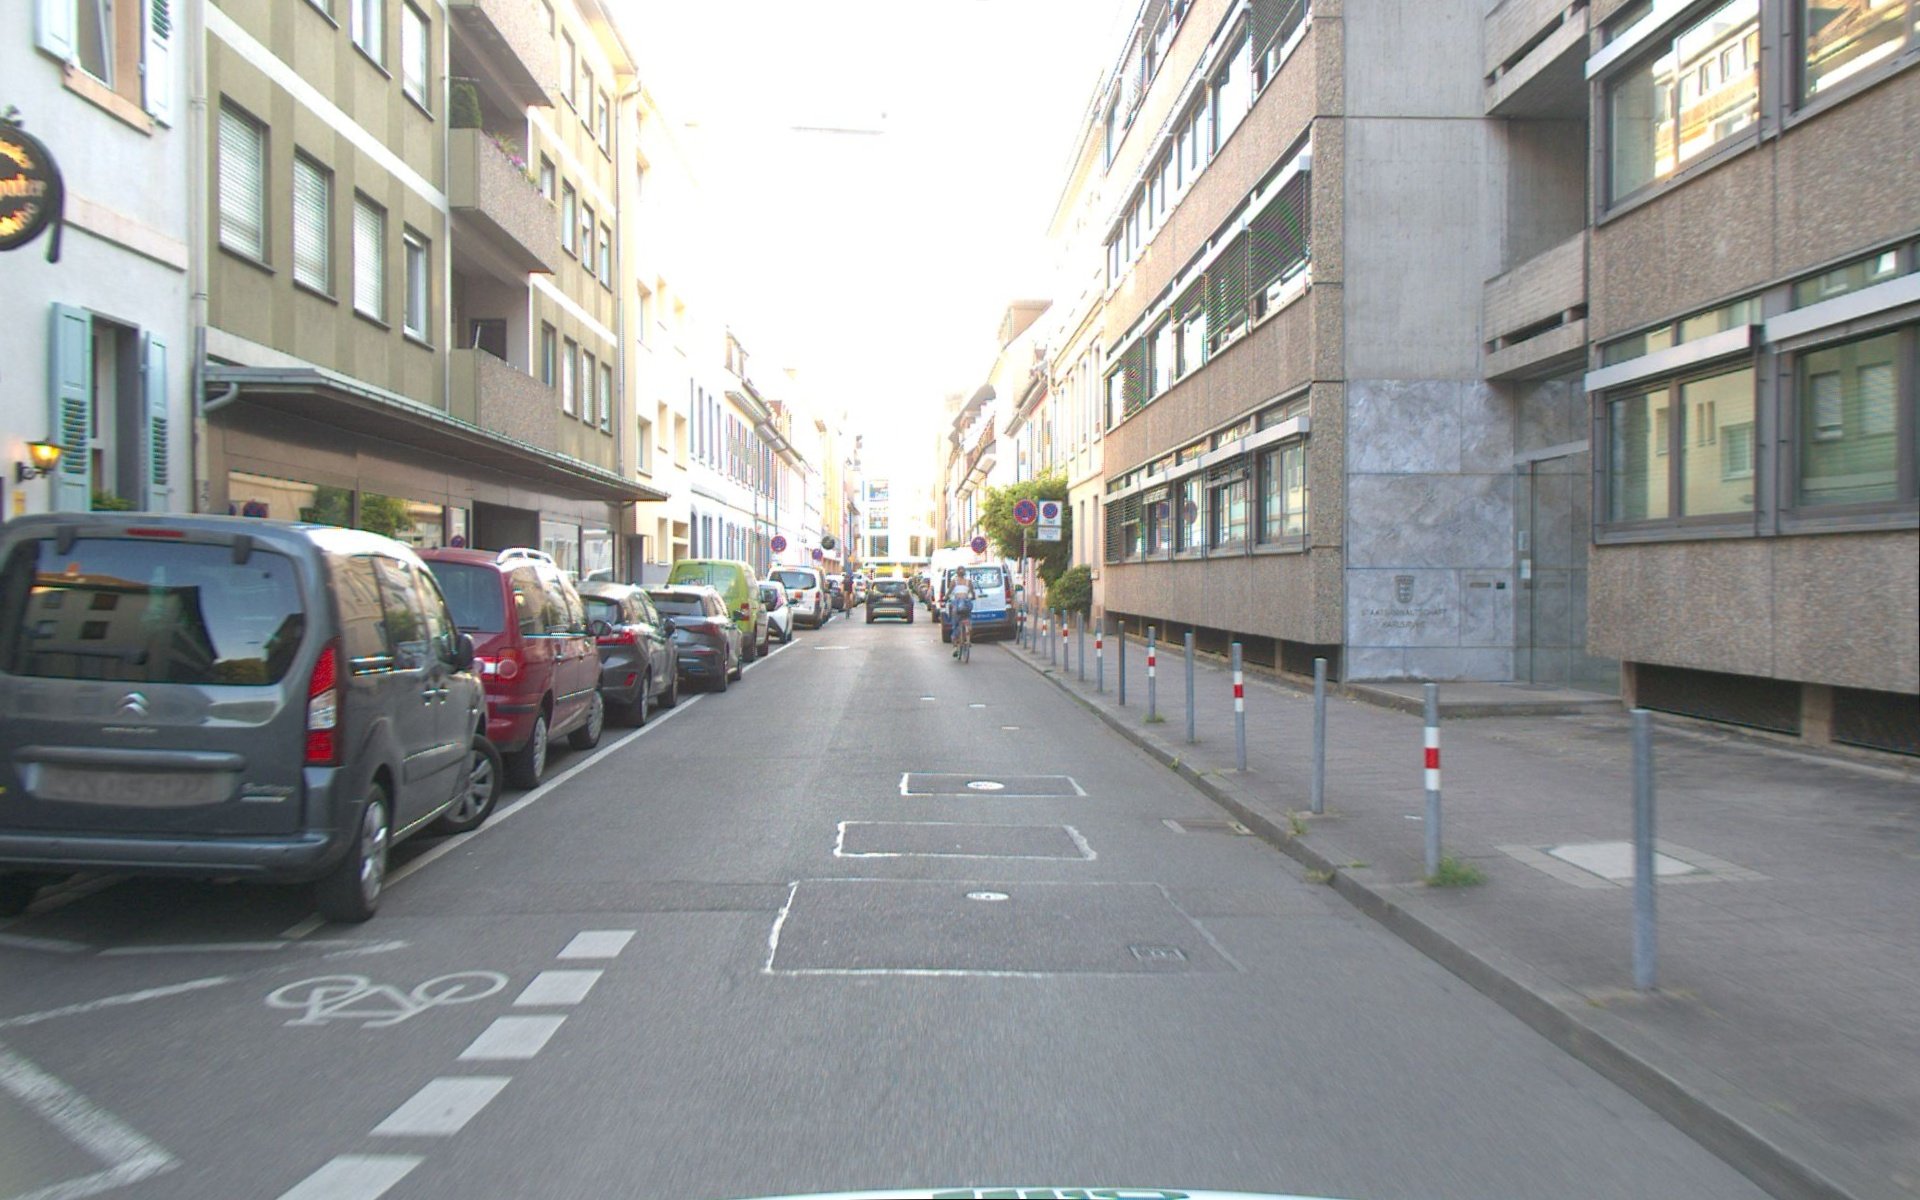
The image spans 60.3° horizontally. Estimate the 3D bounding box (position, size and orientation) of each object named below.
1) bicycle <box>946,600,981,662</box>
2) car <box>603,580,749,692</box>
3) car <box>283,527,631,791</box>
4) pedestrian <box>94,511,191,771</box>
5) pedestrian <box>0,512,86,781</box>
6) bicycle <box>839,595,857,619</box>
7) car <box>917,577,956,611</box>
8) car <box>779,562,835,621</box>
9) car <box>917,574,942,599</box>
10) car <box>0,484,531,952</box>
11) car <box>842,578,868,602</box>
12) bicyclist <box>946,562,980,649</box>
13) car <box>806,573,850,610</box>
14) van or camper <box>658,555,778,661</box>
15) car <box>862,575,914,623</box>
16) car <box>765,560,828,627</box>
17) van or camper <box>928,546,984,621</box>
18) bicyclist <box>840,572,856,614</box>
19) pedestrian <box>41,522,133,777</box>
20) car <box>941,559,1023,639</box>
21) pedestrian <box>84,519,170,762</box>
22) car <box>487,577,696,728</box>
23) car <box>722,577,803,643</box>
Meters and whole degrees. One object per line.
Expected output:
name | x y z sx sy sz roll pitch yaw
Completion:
bicycle | 0.056 0.554 30.886 0.601 1.101 1.809 0 0 -1
car | -3.973 0.458 23.638 1.592 1.440 3.978 1 0 -3
car | -3.979 0.393 13.880 1.737 1.843 4.508 1 1 -3
pedestrian | -5.709 0.281 11.564 0.440 1.780 0.470 0 0 -1
pedestrian | -6.262 0.307 11.227 0.398 1.780 0.470 0 0 -1
bicycle | -4.454 0.273 65.923 0.621 0.938 1.779 0 0 -2
car | -1.155 -0.319 82.642 1.782 1.556 5.071 -3 1 -1
car | -5.538 -0.342 60.261 1.825 2.049 4.811 0 1 -3
car | -2.074 -0.926 112.534 1.620 1.588 3.604 1 1 -2
car | -3.613 0.442 8.760 1.840 1.843 4.446 1 1 -5
car | -7.100 -0.680 112.062 1.620 1.588 3.604 1 1 -2
bicyclist | 0.051 0.094 30.909 0.608 1.602 0.683 0 0 -1
car | -6.173 -0.426 77.871 1.766 1.706 4.489 0 1 -1
van or camper | -4.554 0.122 31.669 1.736 1.880 4.177 0 1 -1
car | -2.607 -0.059 60.124 1.783 1.646 3.998 1 1 -2
car | -5.269 -0.239 53.876 1.825 2.049 5.103 0 1 -3
van or camper | -0.204 -0.650 62.891 2.008 2.683 7.061 0 1 -1
bicyclist | -4.456 -0.288 65.822 0.611 1.668 1.081 0 0 -2
pedestrian | -6.214 0.344 11.786 0.398 1.780 0.470 0 0 -1
car | 0.624 -0.051 42.810 1.896 1.931 5.279 0 1 3
pedestrian | -6.217 0.297 12.355 0.398 1.780 0.470 0 0 -1
car | -4.032 0.510 18.664 1.591 1.510 3.876 0 0 -2
car | -4.845 0.216 40.922 1.629 1.474 3.519 3 0 -2
